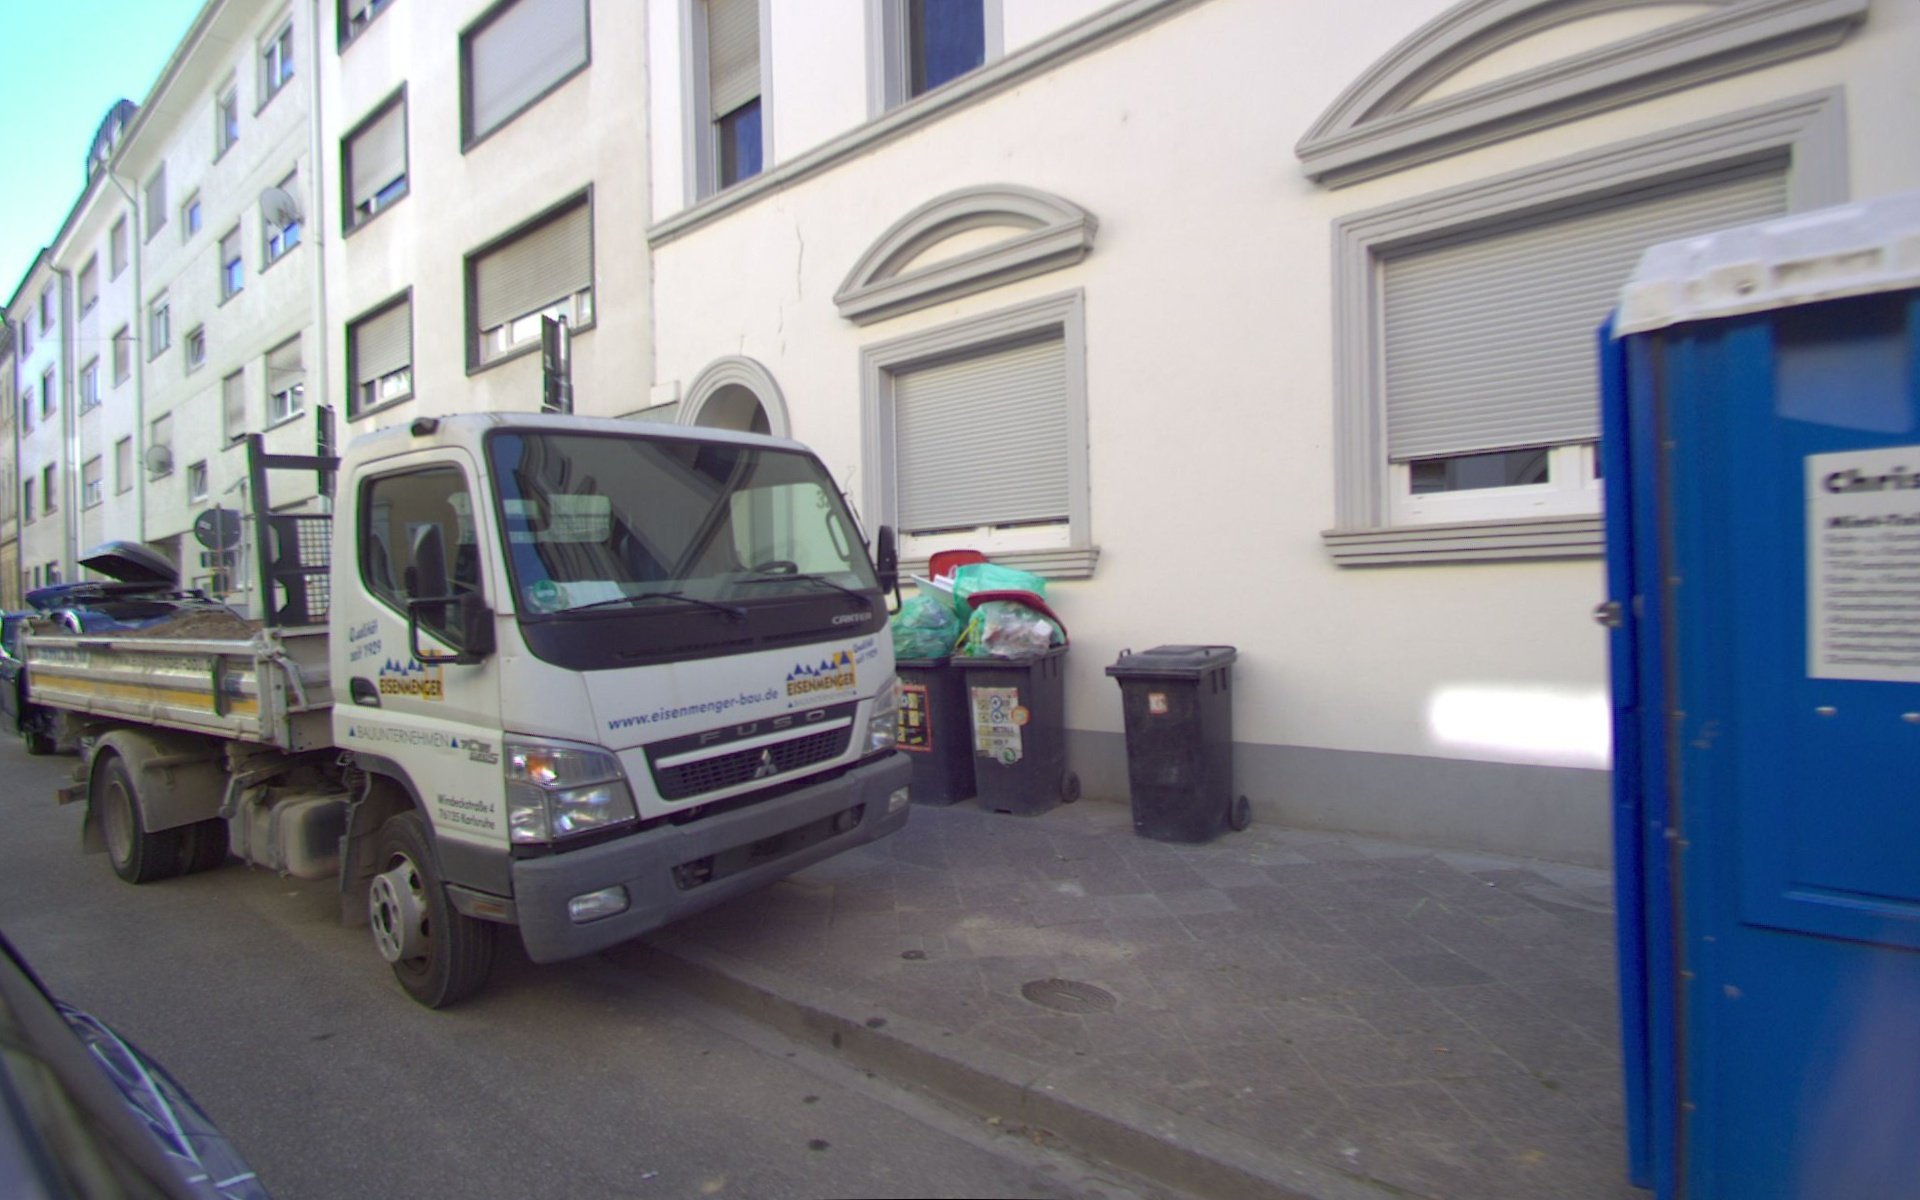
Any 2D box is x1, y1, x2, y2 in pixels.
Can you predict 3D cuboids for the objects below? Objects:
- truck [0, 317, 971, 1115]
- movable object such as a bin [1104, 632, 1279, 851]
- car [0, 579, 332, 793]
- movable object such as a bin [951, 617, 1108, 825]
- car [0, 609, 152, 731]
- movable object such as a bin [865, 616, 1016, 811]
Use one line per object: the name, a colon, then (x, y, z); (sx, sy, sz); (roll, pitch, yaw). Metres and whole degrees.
truck: (-3.133, 0.378, 5.684); (6.334, 2.326, 2.145); (-1, -1, 36)
movable object such as a bin: (1.305, 0.737, 5.668); (0.695, 1.080, 0.778); (-1, 0, 37)
car: (-9.204, 0.840, 11.323); (5.175, 1.896, 1.895); (-1, -3, 36)
movable object such as a bin: (0.449, 0.713, 6.407); (0.685, 1.199, 0.750); (-1, 0, 37)
car: (-15.136, 1.060, 16.760); (4.171, 1.783, 1.738); (-1, -1, 37)
movable object such as a bin: (-0.125, 0.716, 6.816); (0.695, 1.203, 0.750); (-1, 0, 37)
